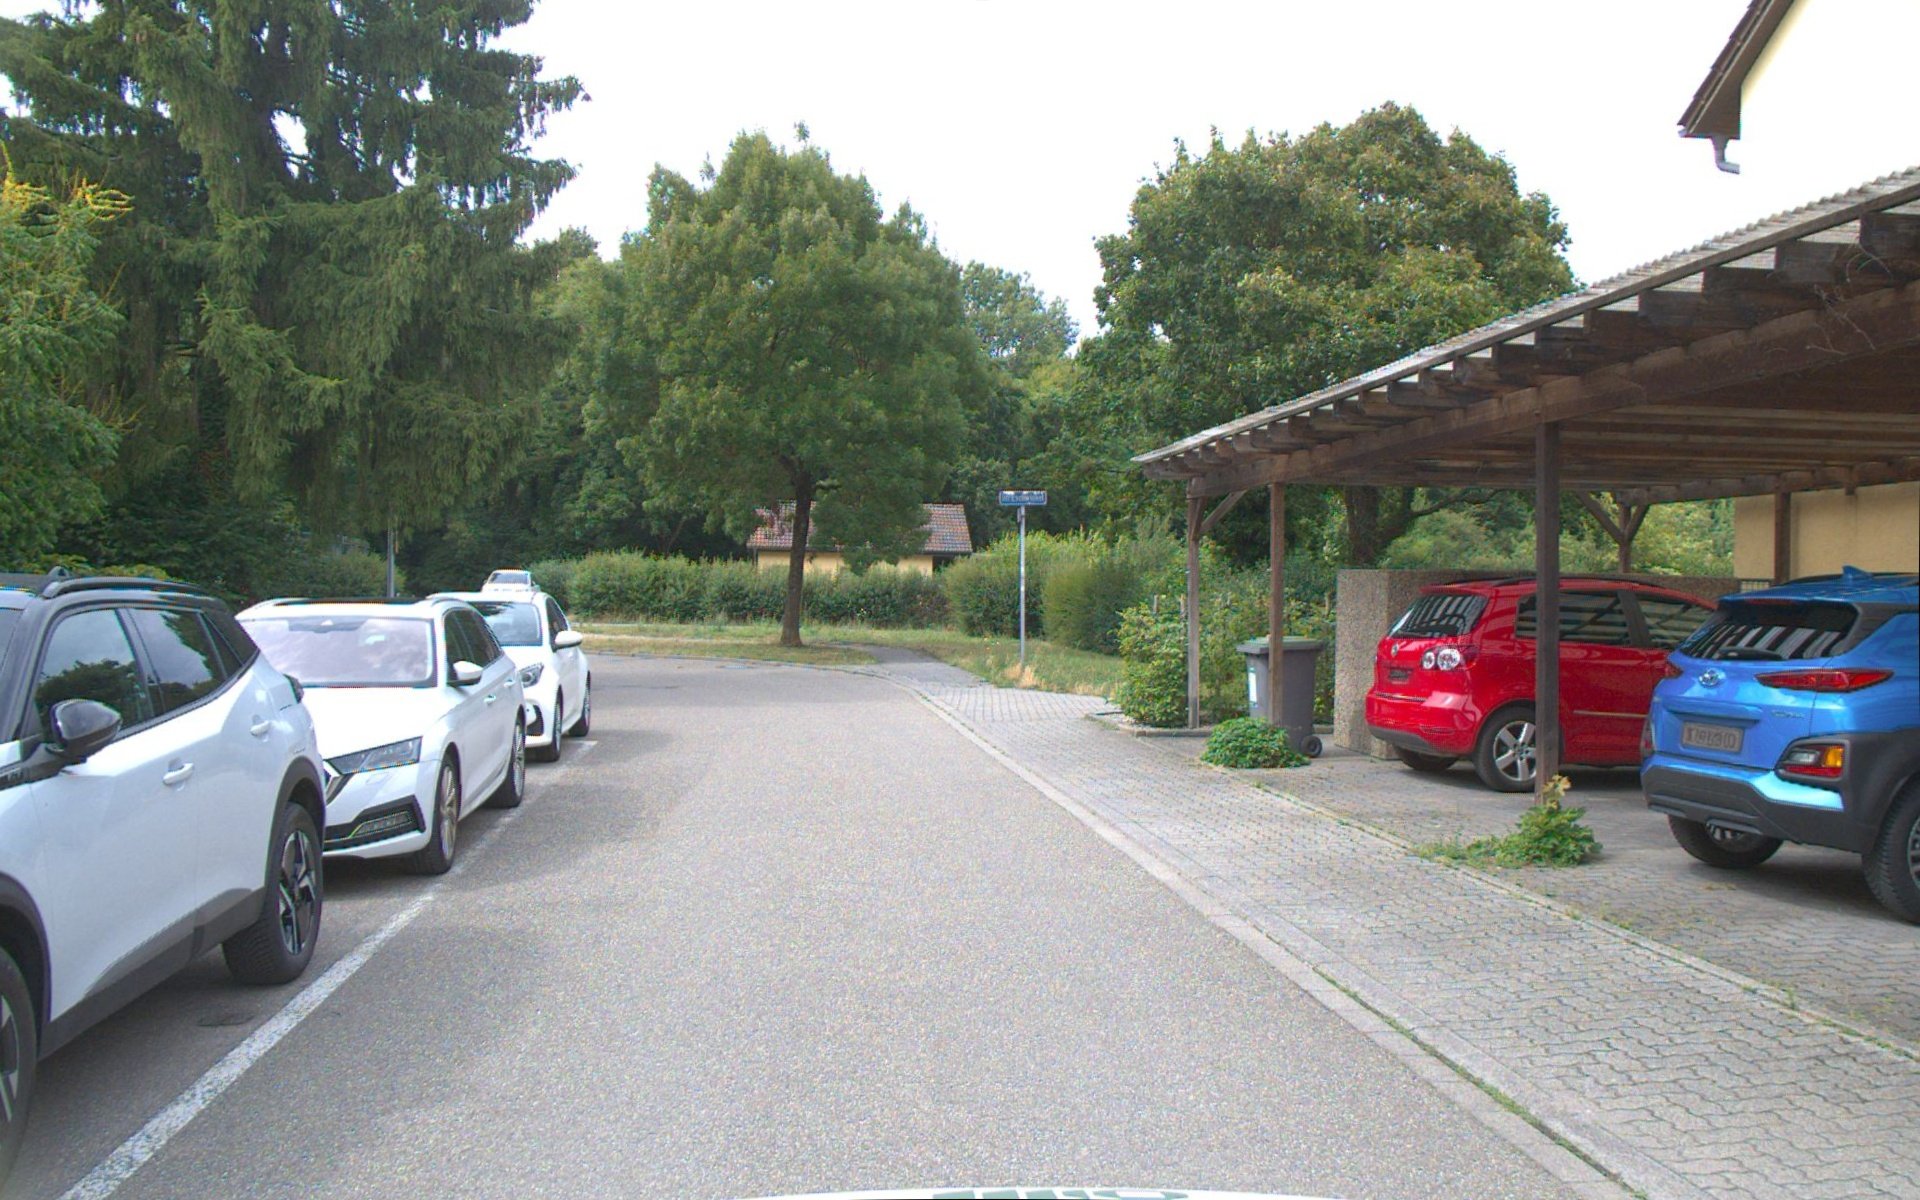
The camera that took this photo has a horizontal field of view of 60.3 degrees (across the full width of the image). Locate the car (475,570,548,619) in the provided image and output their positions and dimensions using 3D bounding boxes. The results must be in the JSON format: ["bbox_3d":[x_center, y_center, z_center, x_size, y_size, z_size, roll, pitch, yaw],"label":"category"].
[{"bbox_3d":[-16.320,-0.210,60.395,1.900,1.689,4.335,1,0,-6],"label":"car"}]

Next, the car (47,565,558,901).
[{"bbox_3d":[-3.729,0.617,10.363,1.775,1.589,4.840,0,0,-7],"label":"car"}]

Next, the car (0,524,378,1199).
[{"bbox_3d":[-3.305,0.603,4.983,1.897,1.583,4.628,0,0,-6],"label":"car"}]

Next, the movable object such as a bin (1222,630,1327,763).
[{"bbox_3d":[2.711,0.816,14.299,0.686,1.091,0.710,0,0,-10],"label":"movable object such as a bin"}]

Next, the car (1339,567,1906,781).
[{"bbox_3d":[5.254,0.541,13.365,3.884,1.567,1.835,0,0,-10],"label":"car"}]

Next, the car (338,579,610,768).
[{"bbox_3d":[-4.457,0.597,15.766,1.757,1.558,4.134,0,0,-6],"label":"car"}]

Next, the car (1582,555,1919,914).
[{"bbox_3d":[5.521,0.581,8.446,3.972,1.549,1.946,0,0,-10],"label":"car"}]
